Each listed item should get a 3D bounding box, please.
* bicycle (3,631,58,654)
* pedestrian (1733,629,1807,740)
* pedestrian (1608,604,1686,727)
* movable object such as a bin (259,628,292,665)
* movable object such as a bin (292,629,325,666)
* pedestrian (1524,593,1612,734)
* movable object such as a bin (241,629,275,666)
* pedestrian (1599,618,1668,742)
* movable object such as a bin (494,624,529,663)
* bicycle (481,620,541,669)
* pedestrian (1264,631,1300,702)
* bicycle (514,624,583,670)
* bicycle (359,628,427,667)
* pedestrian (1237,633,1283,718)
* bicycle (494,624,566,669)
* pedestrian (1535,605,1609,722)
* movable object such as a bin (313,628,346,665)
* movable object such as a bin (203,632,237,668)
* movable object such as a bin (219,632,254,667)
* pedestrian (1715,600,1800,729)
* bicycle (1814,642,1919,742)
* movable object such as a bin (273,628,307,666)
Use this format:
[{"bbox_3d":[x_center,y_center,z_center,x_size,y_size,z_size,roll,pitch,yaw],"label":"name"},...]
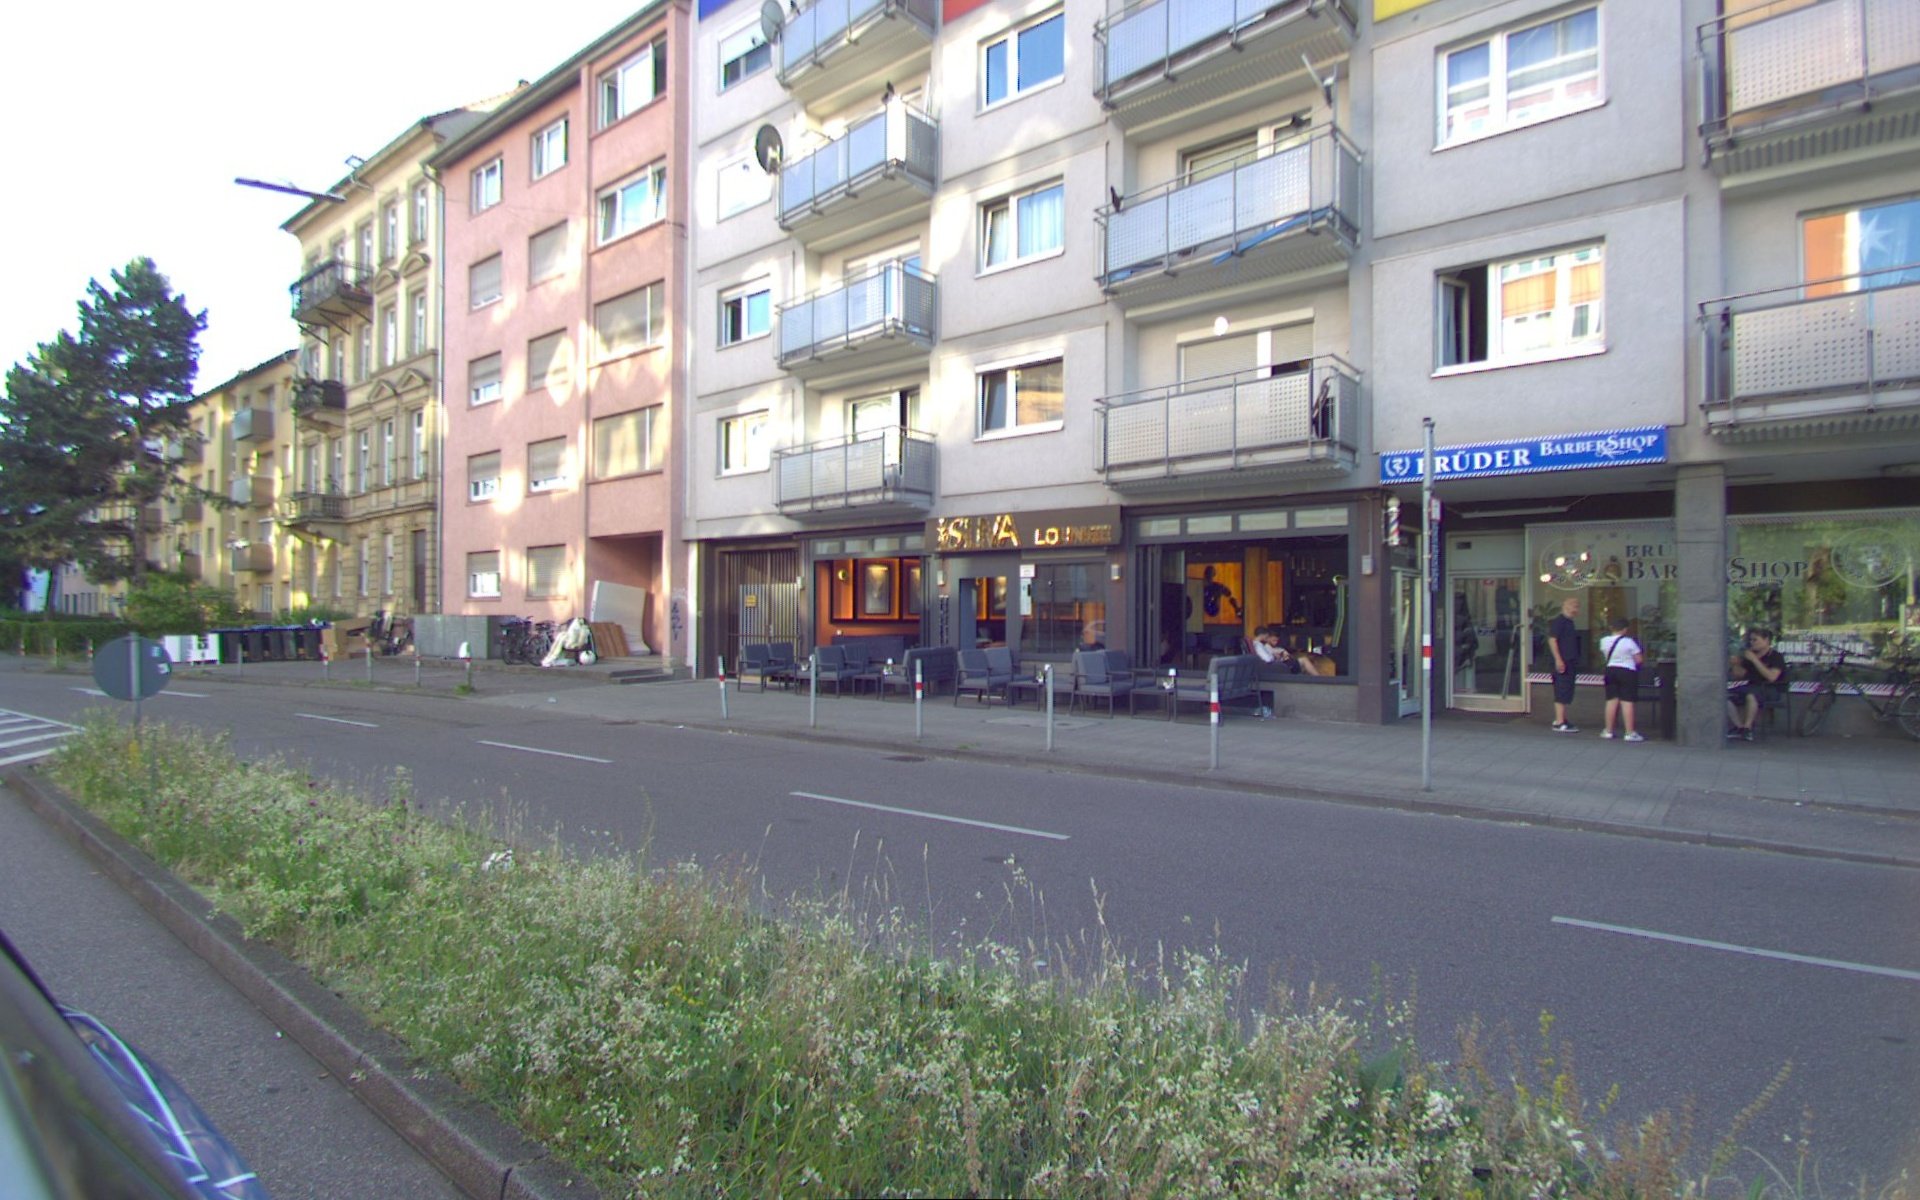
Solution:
[{"bbox_3d":[-41.671,1.891,45.389,0.589,0.989,1.740,-1,-1,41],"label":"bicycle"},{"bbox_3d":[9.493,0.969,11.867,0.549,1.249,0.532,1,-2,-35],"label":"pedestrian"},{"bbox_3d":[9.252,0.865,13.626,0.787,1.590,0.555,-1,-2,41],"label":"pedestrian"},{"bbox_3d":[-21.485,1.439,31.774,0.577,1.119,0.640,0,1,10],"label":"movable object such as a bin"},{"bbox_3d":[-20.268,1.462,31.503,0.577,1.119,0.640,0,1,10],"label":"movable object such as a bin"},{"bbox_3d":[7.608,0.778,12.696,0.552,1.714,0.781,0,-2,-6],"label":"pedestrian"},{"bbox_3d":[-22.117,1.503,31.892,0.577,1.119,0.640,0,1,10],"label":"movable object such as a bin"},{"bbox_3d":[7.787,0.908,11.713,0.476,1.394,0.483,1,-2,-30],"label":"pedestrian"},{"bbox_3d":[-12.258,1.177,27.660,0.588,1.039,0.668,-1,-2,40],"label":"movable object such as a bin"},{"bbox_3d":[-11.501,1.128,25.994,0.491,1.169,1.667,0,0,14],"label":"bicycle"},{"bbox_3d":[5.074,1.040,15.945,0.518,1.088,0.549,-1,-2,18],"label":"pedestrian"},{"bbox_3d":[-10.170,1.142,25.041,0.546,1.048,1.661,0,0,25],"label":"bicycle"},{"bbox_3d":[-17.301,1.437,30.909,0.661,0.974,1.633,-1,4,38],"label":"bicycle"},{"bbox_3d":[4.369,1.092,14.761,0.546,1.212,0.521,0,-2,8],"label":"pedestrian"},{"bbox_3d":[-10.825,1.162,25.547,0.548,1.048,1.656,0,0,33],"label":"bicycle"},{"bbox_3d":[8.565,0.869,14.167,0.787,1.590,0.555,-1,-2,41],"label":"pedestrian"},{"bbox_3d":[-19.610,1.443,31.494,0.577,1.119,0.640,0,1,10],"label":"movable object such as a bin"},{"bbox_3d":[-23.476,1.581,32.114,0.577,1.091,0.640,0,1,10],"label":"movable object such as a bin"},{"bbox_3d":[-22.836,1.553,31.943,0.620,1.076,0.640,0,1,10],"label":"movable object such as a bin"},{"bbox_3d":[10.188,0.808,12.955,0.786,1.590,0.556,-1,-2,35],"label":"pedestrian"},{"bbox_3d":[10.779,1.048,11.620,1.454,1.089,0.582,0,-1,38],"label":"bicycle"},{"bbox_3d":[-20.869,1.456,31.523,0.577,1.119,0.640,0,1,10],"label":"movable object such as a bin"}]
